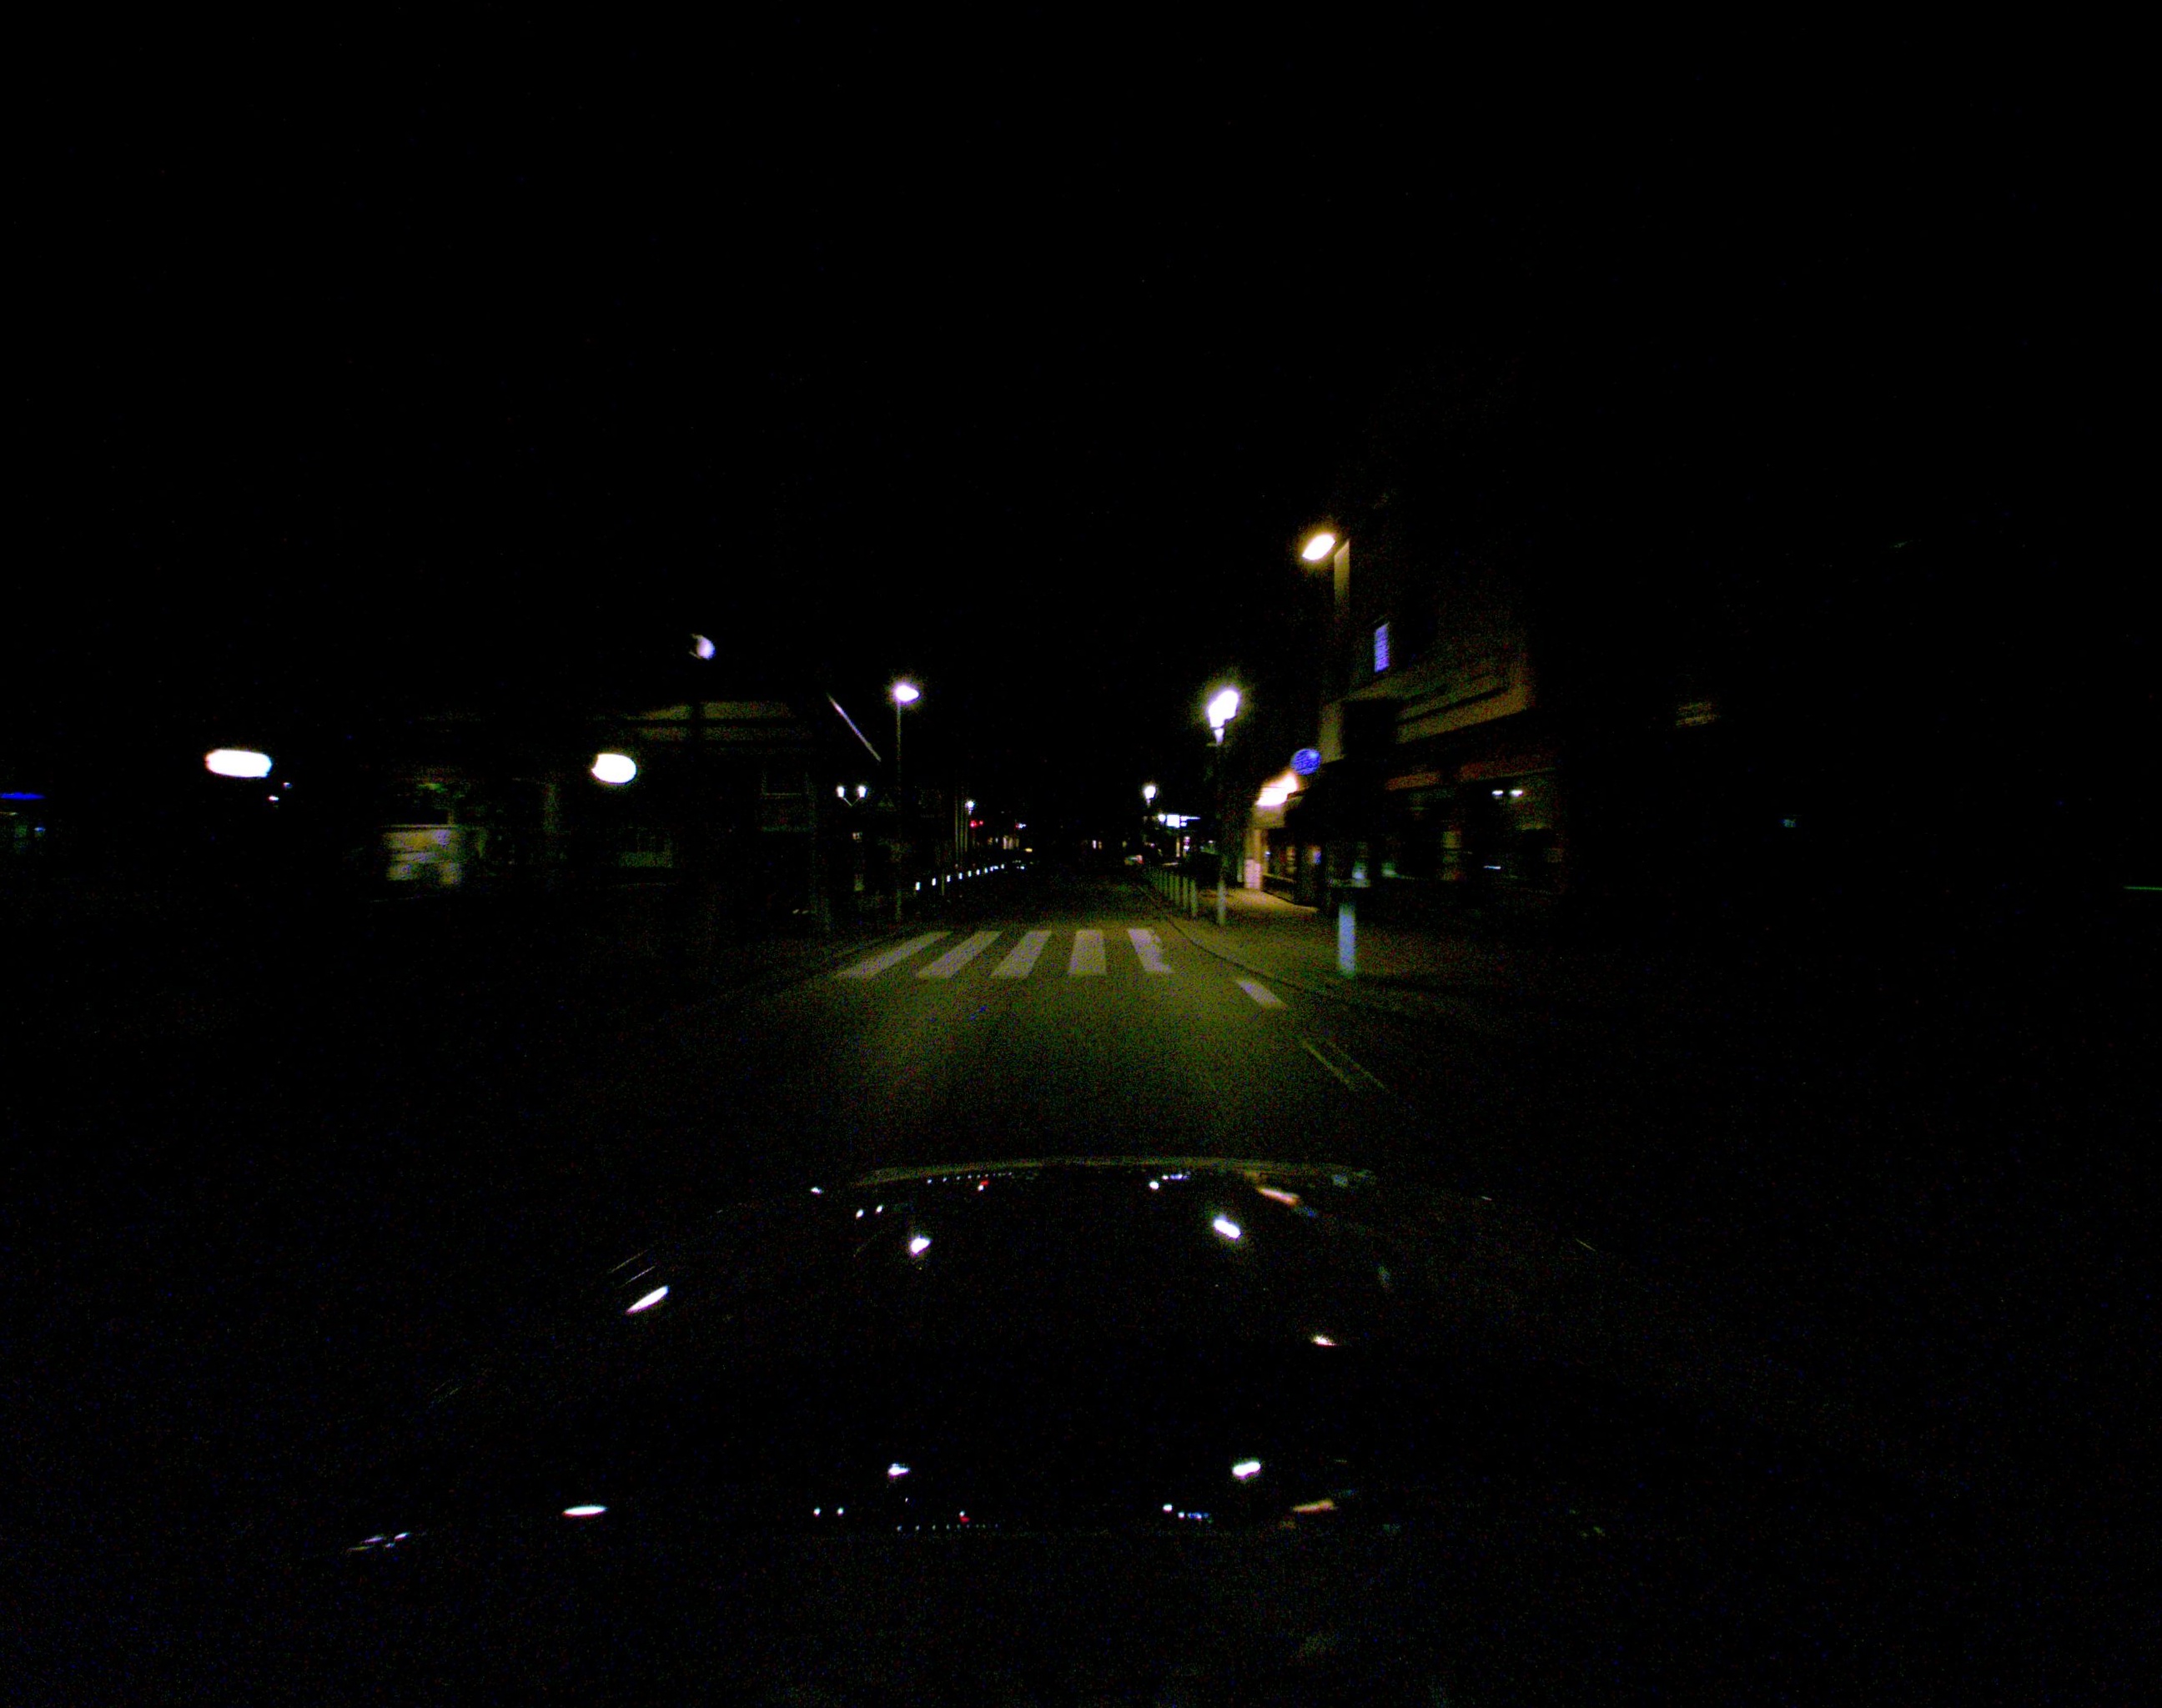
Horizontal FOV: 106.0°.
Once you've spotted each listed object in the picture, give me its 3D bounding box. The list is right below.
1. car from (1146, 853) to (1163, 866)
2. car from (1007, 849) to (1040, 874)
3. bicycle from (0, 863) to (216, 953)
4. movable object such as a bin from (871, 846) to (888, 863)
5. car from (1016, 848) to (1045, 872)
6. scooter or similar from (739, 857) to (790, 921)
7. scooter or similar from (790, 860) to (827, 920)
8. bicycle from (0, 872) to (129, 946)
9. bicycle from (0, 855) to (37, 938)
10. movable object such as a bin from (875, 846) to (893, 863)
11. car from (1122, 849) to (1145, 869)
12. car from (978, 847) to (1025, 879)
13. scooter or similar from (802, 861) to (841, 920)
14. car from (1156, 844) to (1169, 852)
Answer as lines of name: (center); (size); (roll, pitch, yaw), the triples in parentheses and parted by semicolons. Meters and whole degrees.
car: (8.386, 0.612, 92.456); (1.725, 1.440, 4.506); (0, 1, 7)
car: (-3.760, 0.485, 54.039); (1.899, 1.541, 4.781); (1, 1, 0)
bicycle: (-15.202, 0.767, 12.658); (0.856, 1.254, 2.466); (0, -1, 1)
movable object such as a bin: (-16.784, 0.044, 67.968); (1.032, 1.444, 1.287); (1, -1, 3)
car: (-3.747, 0.412, 60.575); (1.752, 1.637, 4.816); (0, 1, 1)
scooter or similar: (-7.326, 0.786, 18.917); (0.593, 1.379, 1.352); (0, 1, 2)
scooter or similar: (-6.309, 0.819, 18.895); (0.316, 1.288, 1.450); (1, 1, 2)
bicycle: (-16.730, 0.845, 12.683); (0.856, 1.087, 2.483); (0, -1, 1)
bicycle: (-18.207, 0.693, 12.685); (0.760, 1.364, 2.413); (0, -1, 1)
movable object such as a bin: (-16.720, 0.024, 69.272); (1.126, 1.457, 1.229); (1, -1, 3)
car: (4.126, 0.390, 63.189); (1.734, 1.487, 4.642); (0, 0, 4)
car: (-4.187, 0.440, 43.433); (1.763, 1.574, 4.487); (1, 0, 3)
scooter or similar: (-6.008, 0.817, 18.893); (0.367, 1.264, 1.450); (1, 1, 3)
car: (17.066, -1.224, 169.949); (2.004, 1.691, 5.021); (1, 1, 13)
